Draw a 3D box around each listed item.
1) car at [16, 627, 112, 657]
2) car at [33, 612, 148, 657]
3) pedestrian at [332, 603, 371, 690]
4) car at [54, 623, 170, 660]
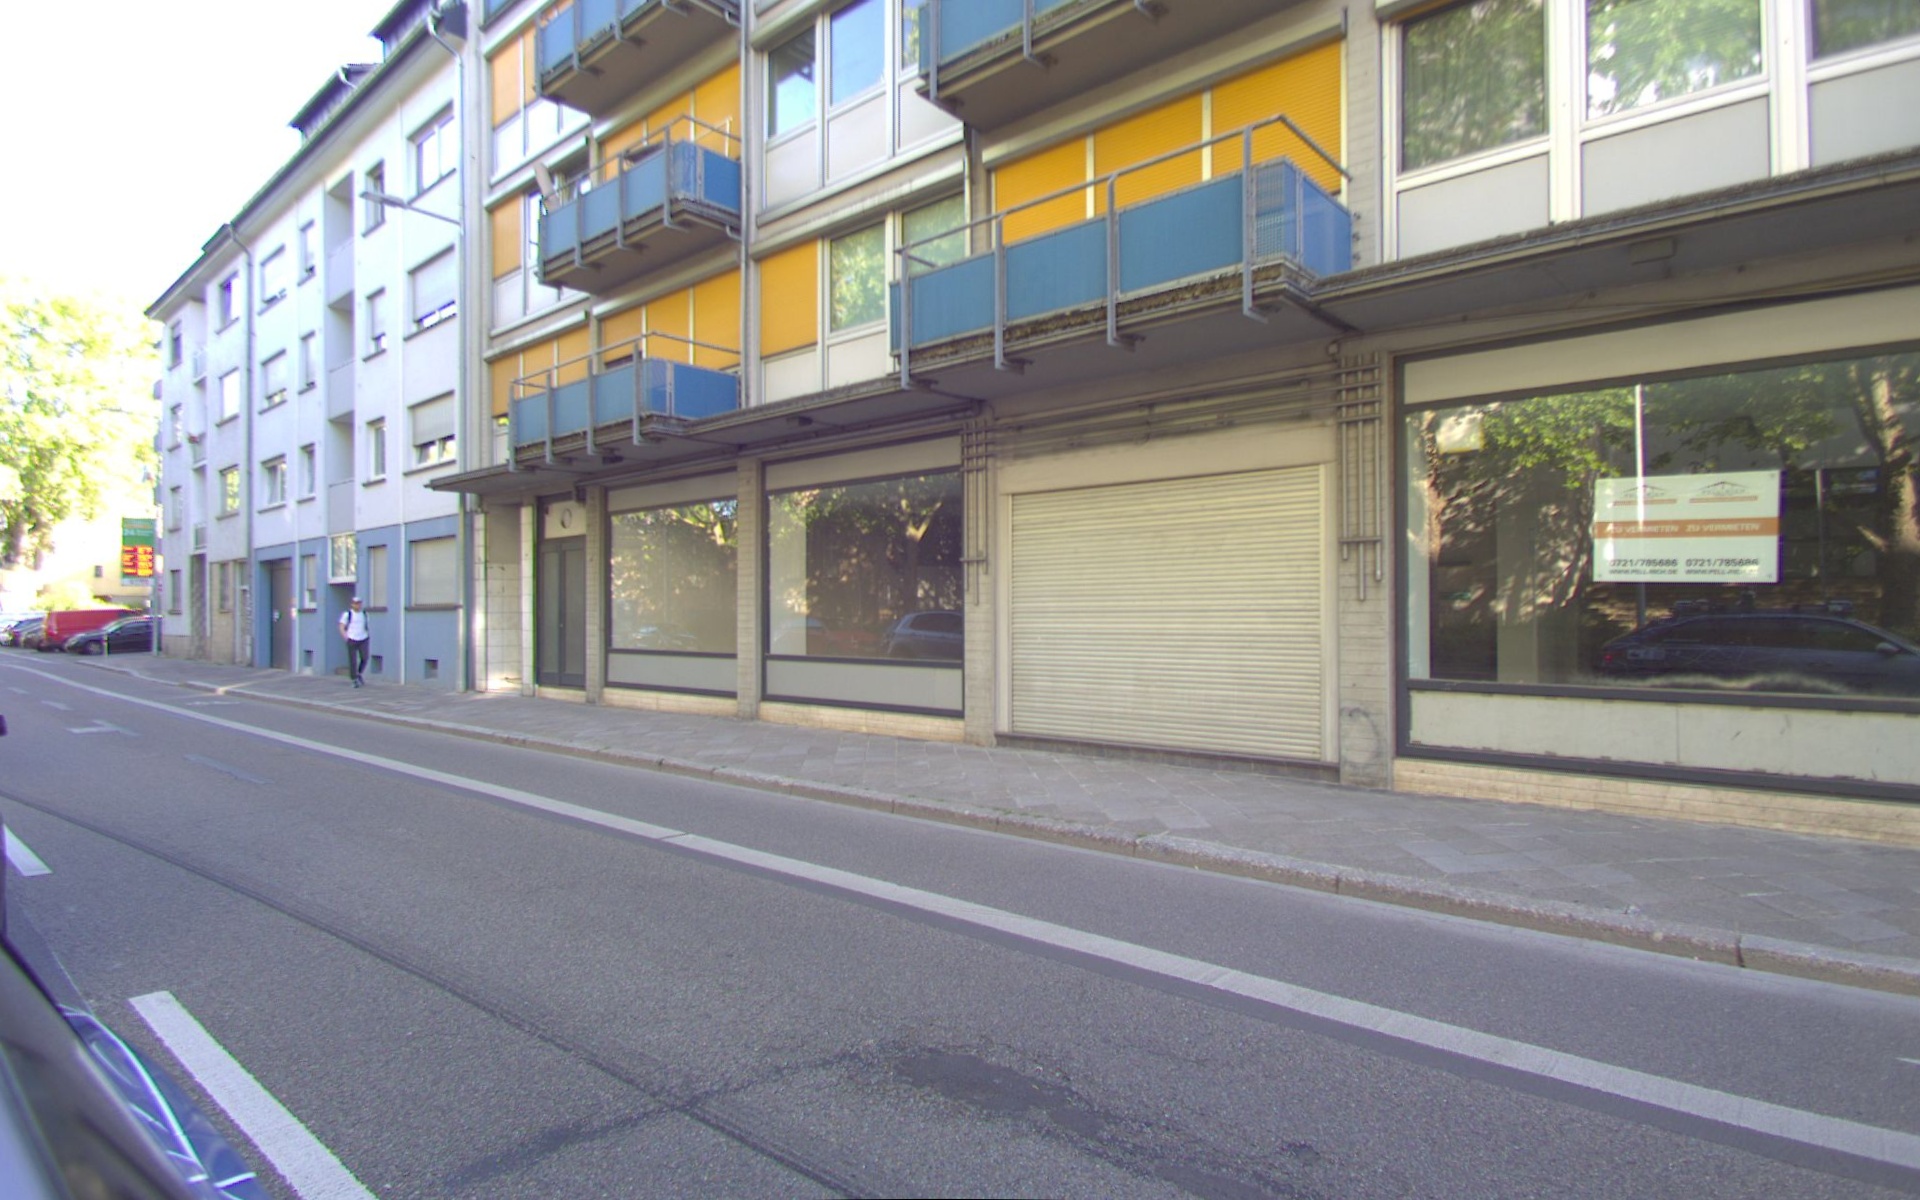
[{"bbox_3d":[-42.970,1.992,48.589,1.294,1.258,3.283,-1,0,41],"label":"car"},{"bbox_3d":[-40.628,1.576,47.345,1.635,1.937,3.878,-1,0,41],"label":"car"},{"bbox_3d":[-12.470,0.943,20.741,0.343,1.739,0.562,-2,0,41],"label":"pedestrian"},{"bbox_3d":[-36.666,1.761,43.822,1.635,1.422,3.623,-1,0,41],"label":"car"}]
